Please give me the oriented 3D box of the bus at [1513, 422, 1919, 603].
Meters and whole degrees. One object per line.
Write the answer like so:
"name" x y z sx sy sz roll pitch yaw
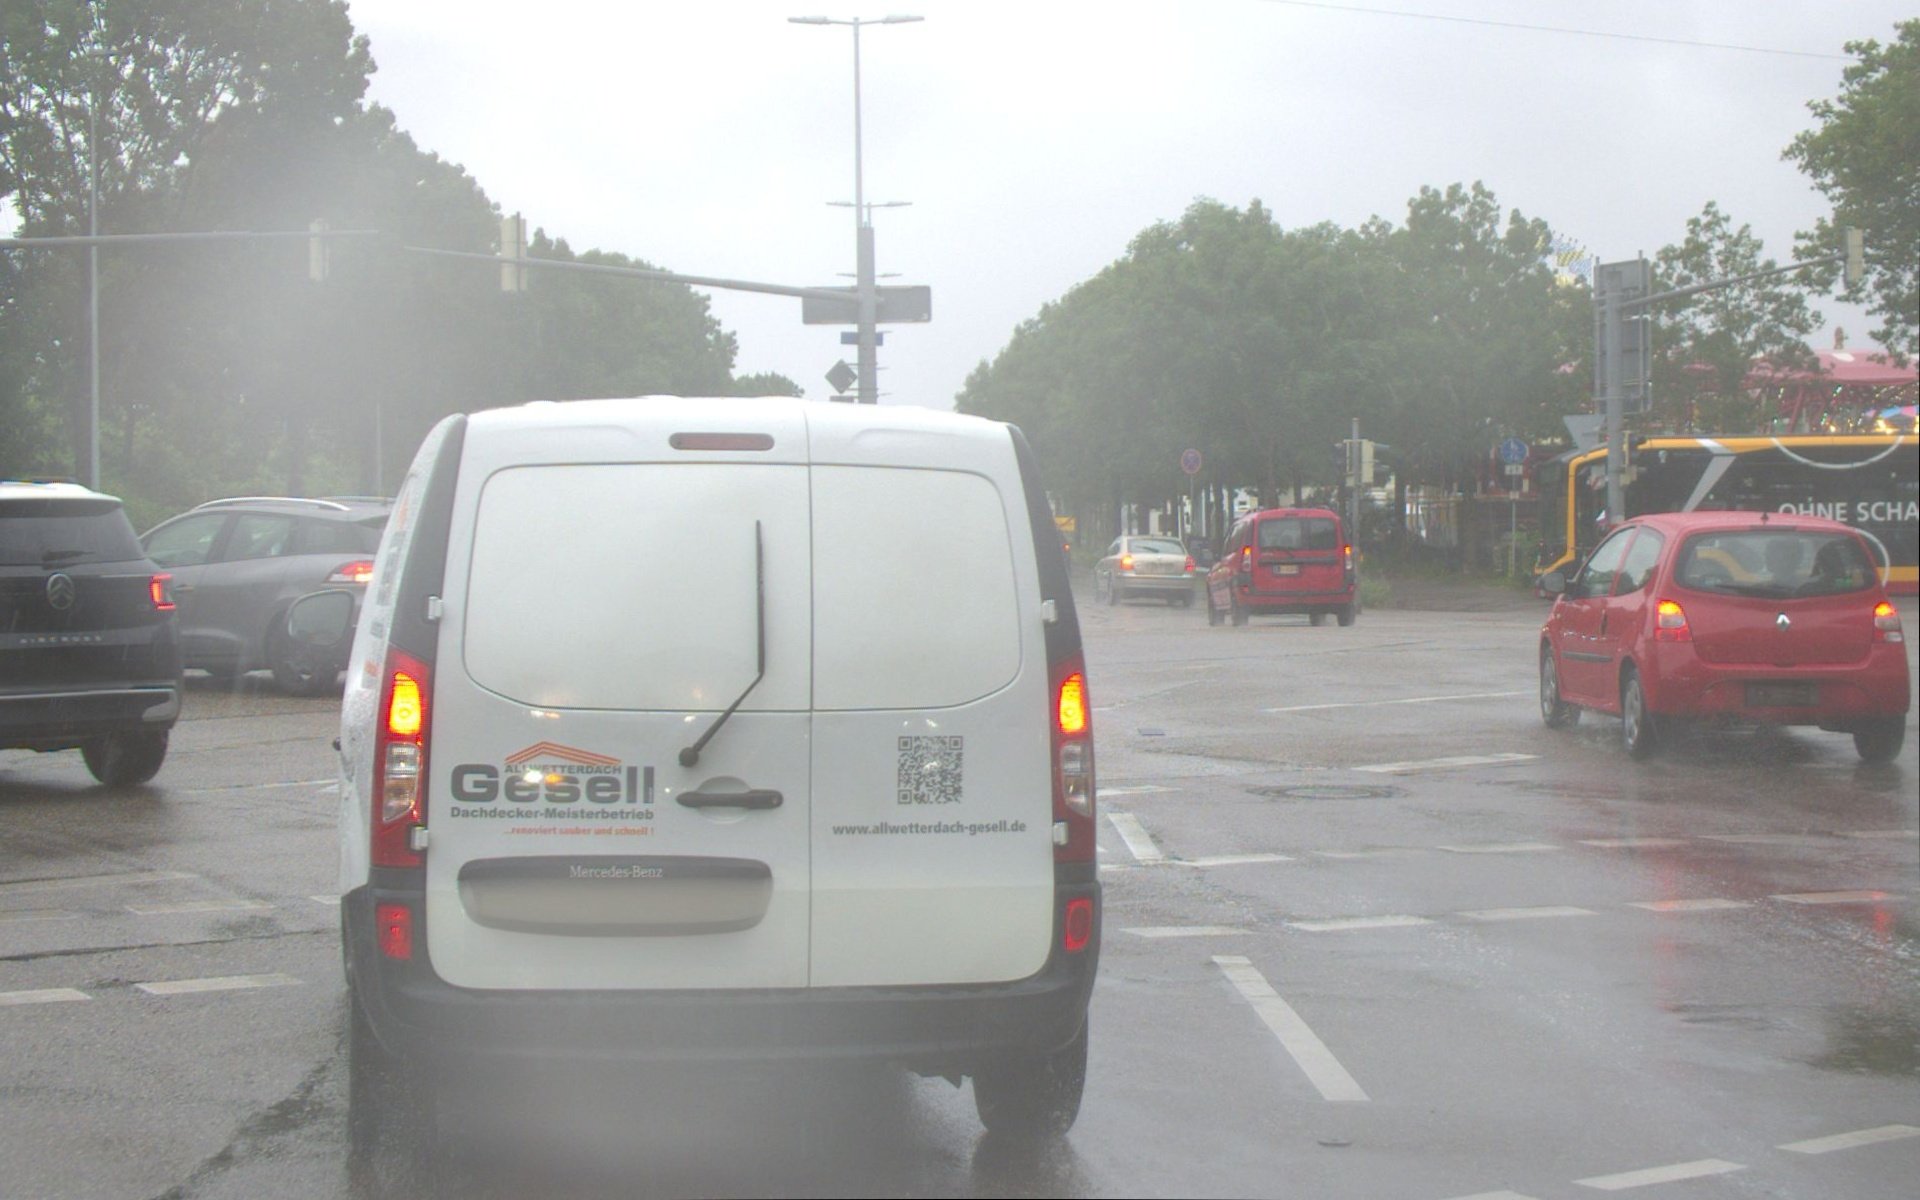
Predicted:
"bus" 16.867 -1.684 64.991 12.248 3.257 3.275 -1 1 -2

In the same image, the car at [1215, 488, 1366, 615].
"car" 4.560 -0.695 47.827 1.632 1.650 3.485 1 1 -2

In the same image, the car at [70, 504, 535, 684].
"car" -5.038 -0.077 26.276 3.253 1.279 1.683 1 2 35

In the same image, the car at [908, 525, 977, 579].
"car" -0.574 -1.516 106.915 1.996 1.612 4.001 -1 1 -2

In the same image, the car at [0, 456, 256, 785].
"car" -5.706 0.057 18.528 1.918 1.603 3.998 -2 2 -43

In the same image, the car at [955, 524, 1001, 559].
"car" 0.822 -2.770 163.061 1.996 1.612 4.001 -1 1 -2

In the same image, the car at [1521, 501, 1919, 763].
"car" 4.709 0.140 21.526 1.678 1.486 3.622 1 1 -2

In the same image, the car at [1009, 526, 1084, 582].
"car" 2.607 -1.415 103.949 1.996 1.612 4.001 -1 1 -2

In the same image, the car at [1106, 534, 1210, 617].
"car" 4.027 -0.530 70.517 1.842 1.612 4.000 1 1 0

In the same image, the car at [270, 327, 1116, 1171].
"car" -0.840 0.284 9.332 1.755 1.771 4.001 2 1 -8

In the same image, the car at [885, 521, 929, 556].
"car" -2.586 -3.000 167.014 1.996 1.612 4.001 -1 1 -2

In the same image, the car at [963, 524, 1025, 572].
"car" 1.173 -1.862 121.650 1.996 1.612 4.001 -1 1 -2
